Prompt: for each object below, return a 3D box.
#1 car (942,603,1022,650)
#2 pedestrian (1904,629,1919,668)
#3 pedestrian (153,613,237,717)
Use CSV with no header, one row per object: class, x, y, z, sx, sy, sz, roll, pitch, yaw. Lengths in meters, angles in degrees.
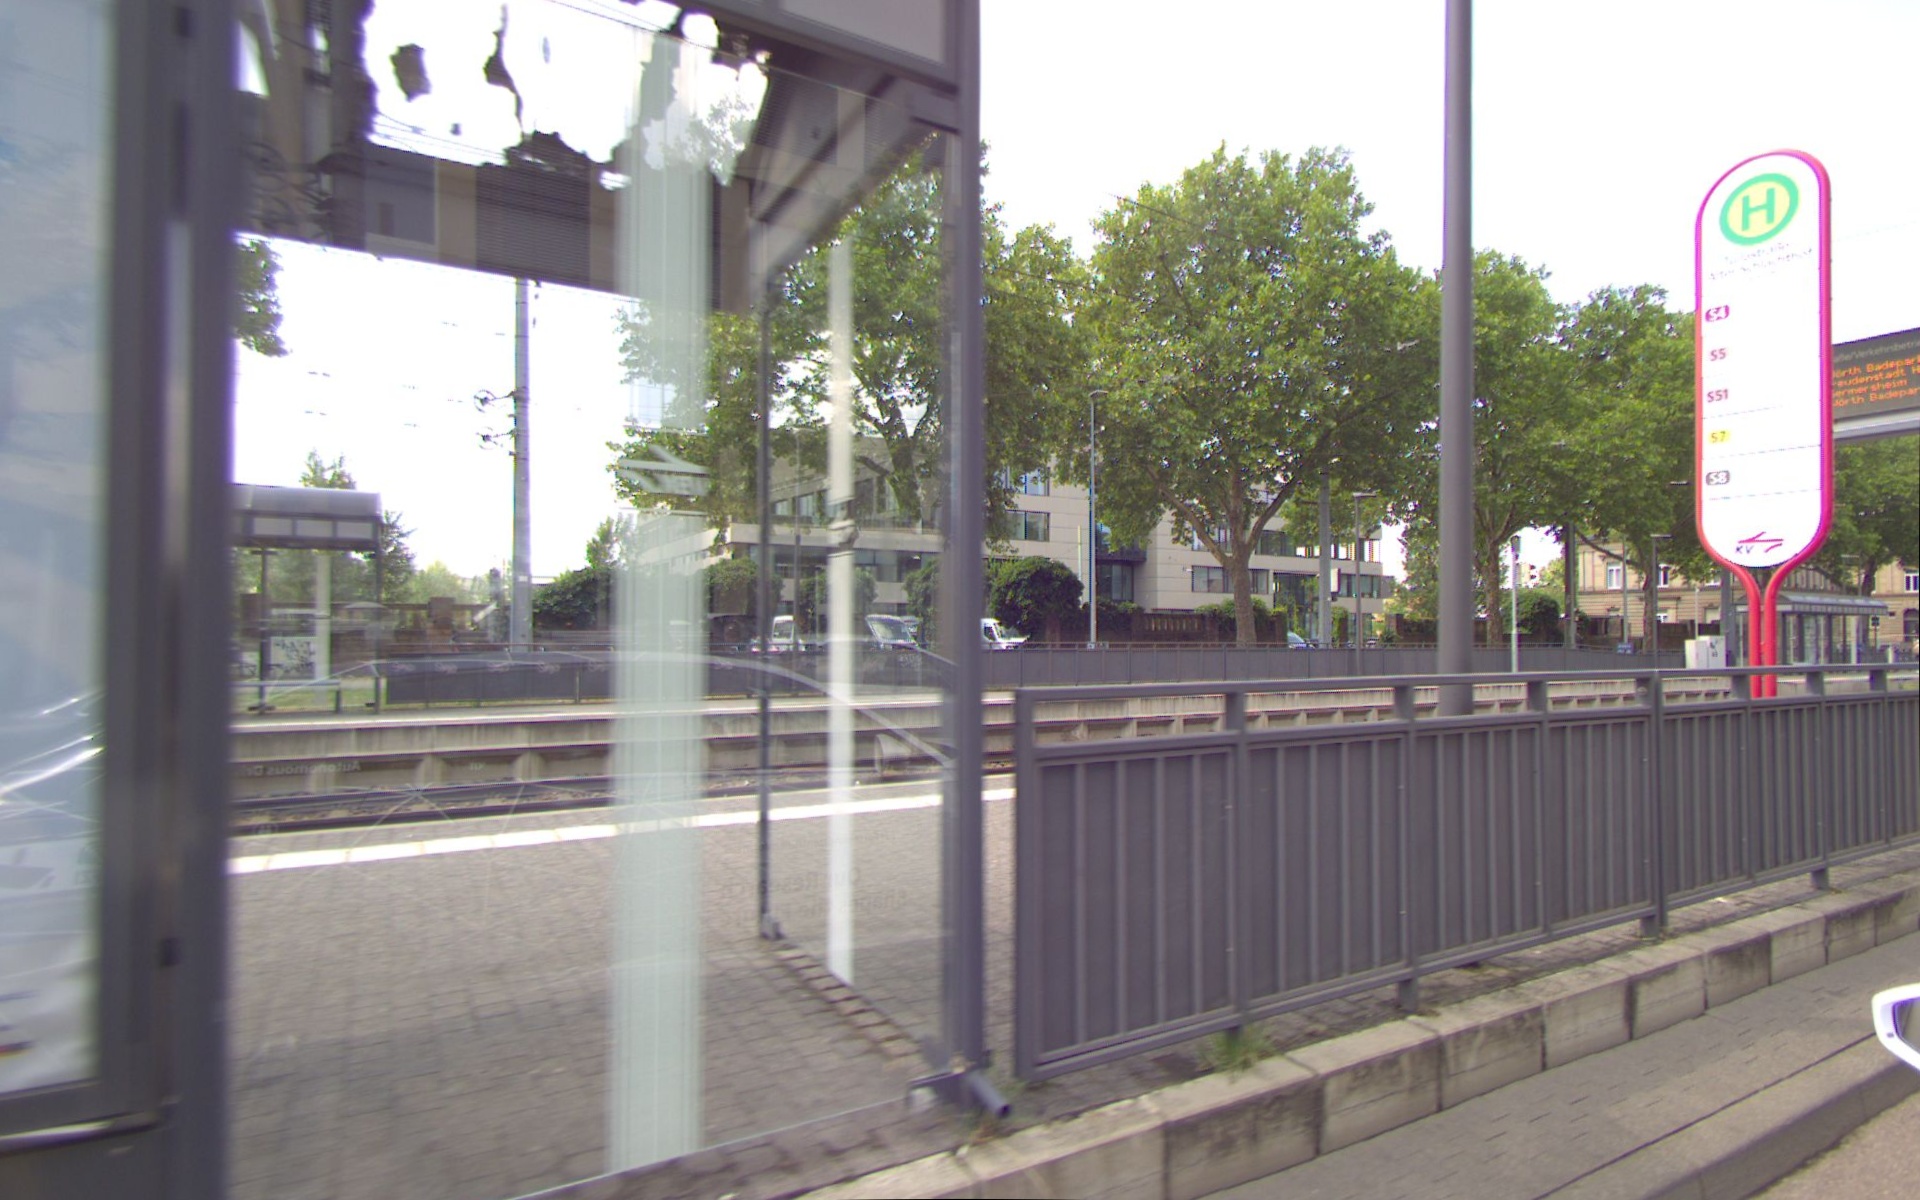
car,0.970,1.290,47.447,1.937,2.060,4.119,1,-4,-30
pedestrian,38.595,1.950,40.396,0.795,1.532,0.697,1,-3,-34
pedestrian,-9.815,0.821,12.913,0.758,1.286,0.550,1,-2,-28
